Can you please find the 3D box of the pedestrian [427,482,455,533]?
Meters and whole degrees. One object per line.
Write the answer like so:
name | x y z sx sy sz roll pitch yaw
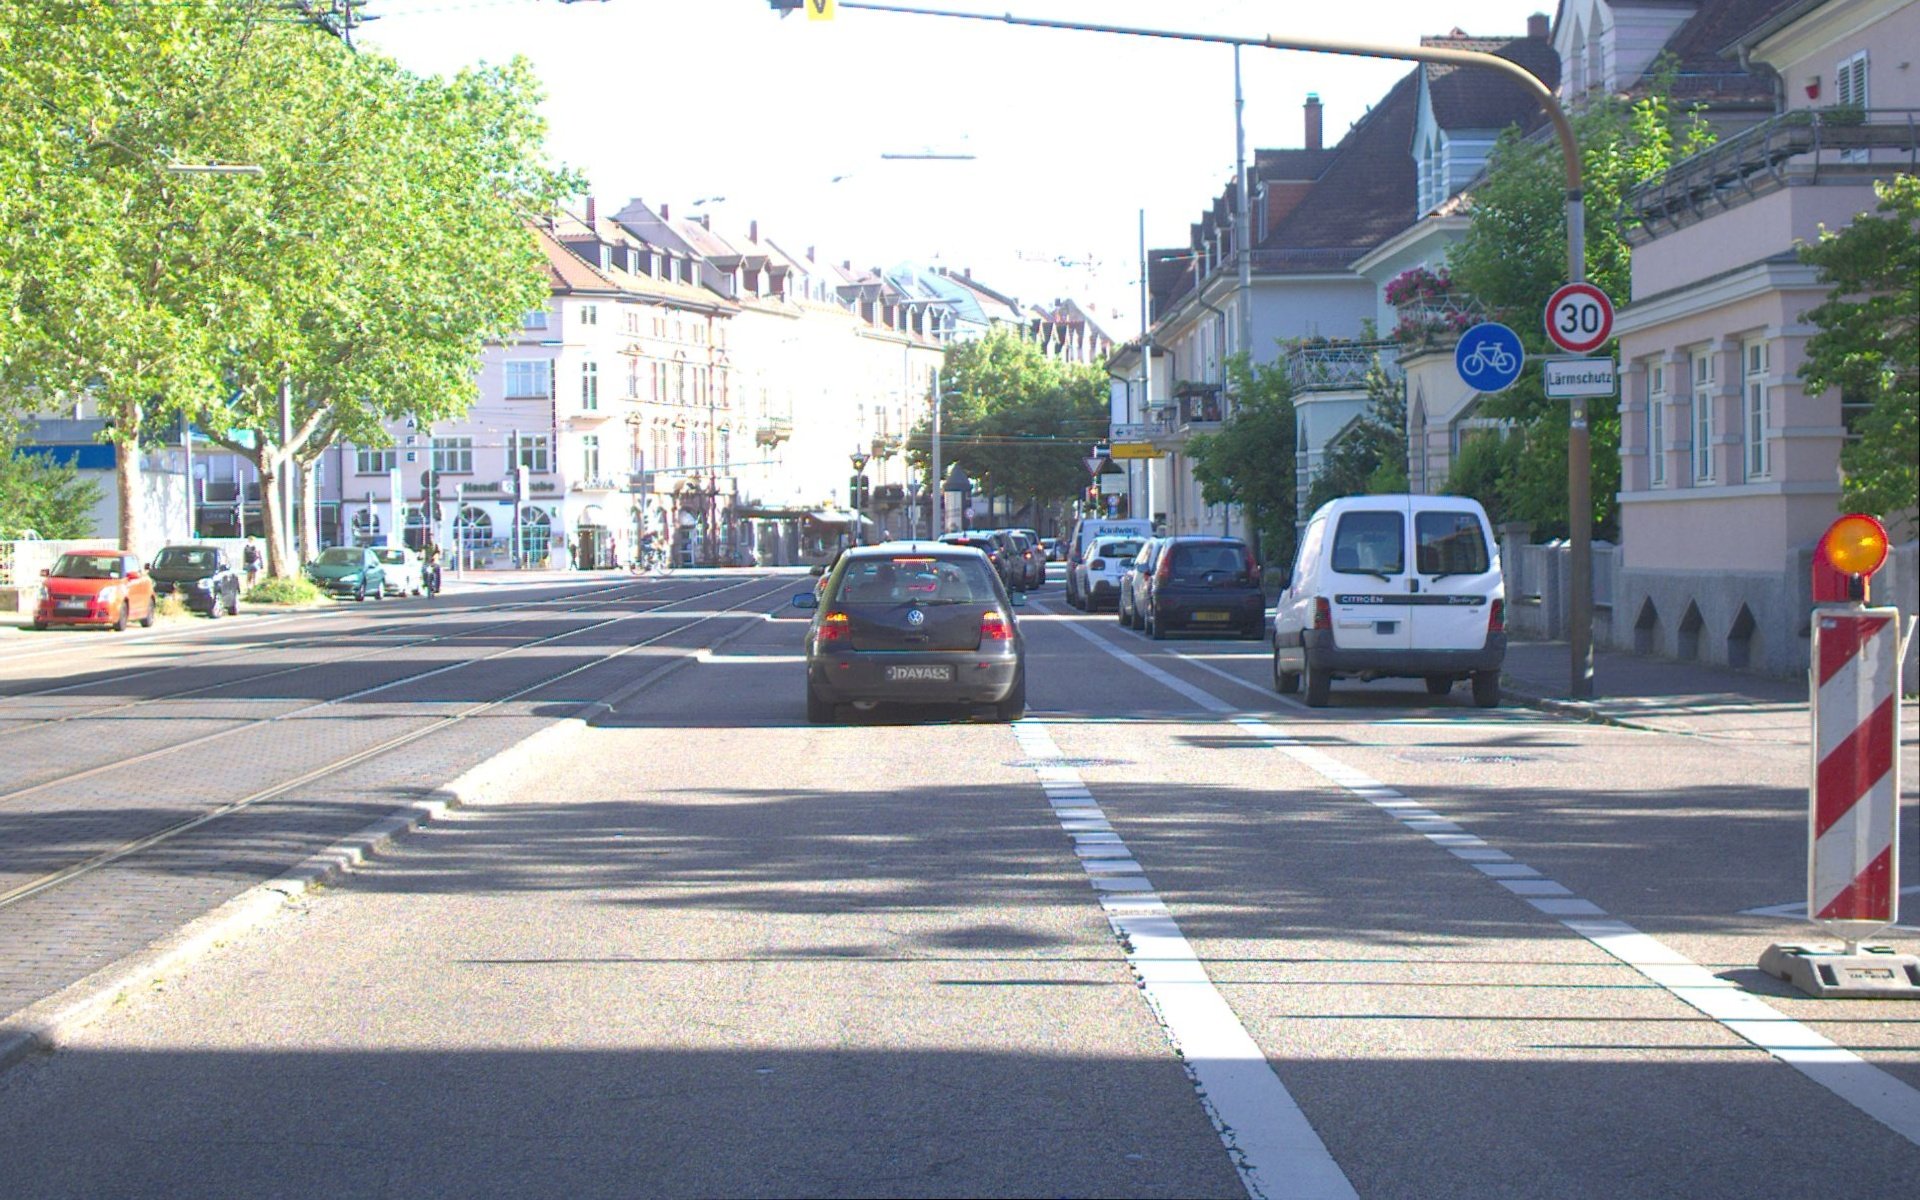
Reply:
pedestrian | -25.694 -4.582 170.255 1.223 2.532 1.350 1 1 -5

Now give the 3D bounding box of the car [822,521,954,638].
car | -0.975 -0.319 48.194 1.748 1.532 3.892 -1 2 0

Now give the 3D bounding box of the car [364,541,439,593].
car | -16.306 -0.984 100.491 1.636 1.467 3.730 0 1 -1

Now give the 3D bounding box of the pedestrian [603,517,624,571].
pedestrian | -17.466 -2.817 173.107 0.956 2.650 1.099 1 1 -3

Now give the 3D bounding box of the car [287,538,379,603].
car | -17.138 -0.833 94.109 1.883 1.663 3.805 1 2 -2

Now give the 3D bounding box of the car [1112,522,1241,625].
car | 3.392 -0.447 54.447 1.748 1.532 3.956 -1 2 0

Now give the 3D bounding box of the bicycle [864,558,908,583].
bicycle | -3.629 -1.449 168.829 2.086 1.137 0.922 1 1 -4

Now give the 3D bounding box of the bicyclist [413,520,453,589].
bicyclist | -14.250 -1.245 92.947 0.914 1.827 0.960 1 1 -1

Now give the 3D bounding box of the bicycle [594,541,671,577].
bicycle | -12.039 -1.514 126.335 2.742 1.258 0.706 1 1 -1

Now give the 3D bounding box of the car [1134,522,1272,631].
car | 3.500 -0.374 50.045 1.661 1.520 4.036 0 1 -1

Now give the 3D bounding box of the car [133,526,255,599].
car | -16.567 -0.837 74.525 1.792 1.460 3.836 2 1 -1

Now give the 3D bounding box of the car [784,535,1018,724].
car | -0.519 0.185 28.018 1.748 1.370 4.001 -1 2 -2

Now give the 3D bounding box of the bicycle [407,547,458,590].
bicycle | -14.253 -0.872 92.977 0.914 1.079 3.203 1 2 -1

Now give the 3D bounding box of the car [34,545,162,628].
car | -16.324 -0.265 65.255 1.570 1.528 3.572 0 0 -1

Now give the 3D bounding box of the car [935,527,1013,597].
car | 0.282 -0.842 74.796 1.636 1.467 3.730 0 1 -1

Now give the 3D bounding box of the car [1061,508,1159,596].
car | 3.145 -1.031 72.654 1.817 1.793 4.000 0 1 -1

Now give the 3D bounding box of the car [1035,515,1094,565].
car | 3.178 -1.851 105.477 1.636 1.467 3.730 0 1 -1

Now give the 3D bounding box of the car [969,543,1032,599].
car | 1.100 -0.818 95.034 1.636 1.467 3.730 -1 1 -1

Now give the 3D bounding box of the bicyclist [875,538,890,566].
bicyclist | -3.810 -2.346 168.812 0.682 1.332 0.922 1 1 -4

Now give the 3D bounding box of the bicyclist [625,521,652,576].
bicyclist | -11.810 -1.905 126.320 0.876 2.002 0.706 1 1 -1

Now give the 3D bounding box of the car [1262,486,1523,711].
car | 3.743 -0.060 30.287 1.759 1.831 3.548 1 2 -1

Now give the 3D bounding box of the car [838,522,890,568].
car | -3.124 -1.793 111.957 1.636 1.467 3.730 0 1 -1

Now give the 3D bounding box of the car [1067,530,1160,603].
car | 3.004 -0.678 67.799 1.580 1.370 4.000 0 1 -1
